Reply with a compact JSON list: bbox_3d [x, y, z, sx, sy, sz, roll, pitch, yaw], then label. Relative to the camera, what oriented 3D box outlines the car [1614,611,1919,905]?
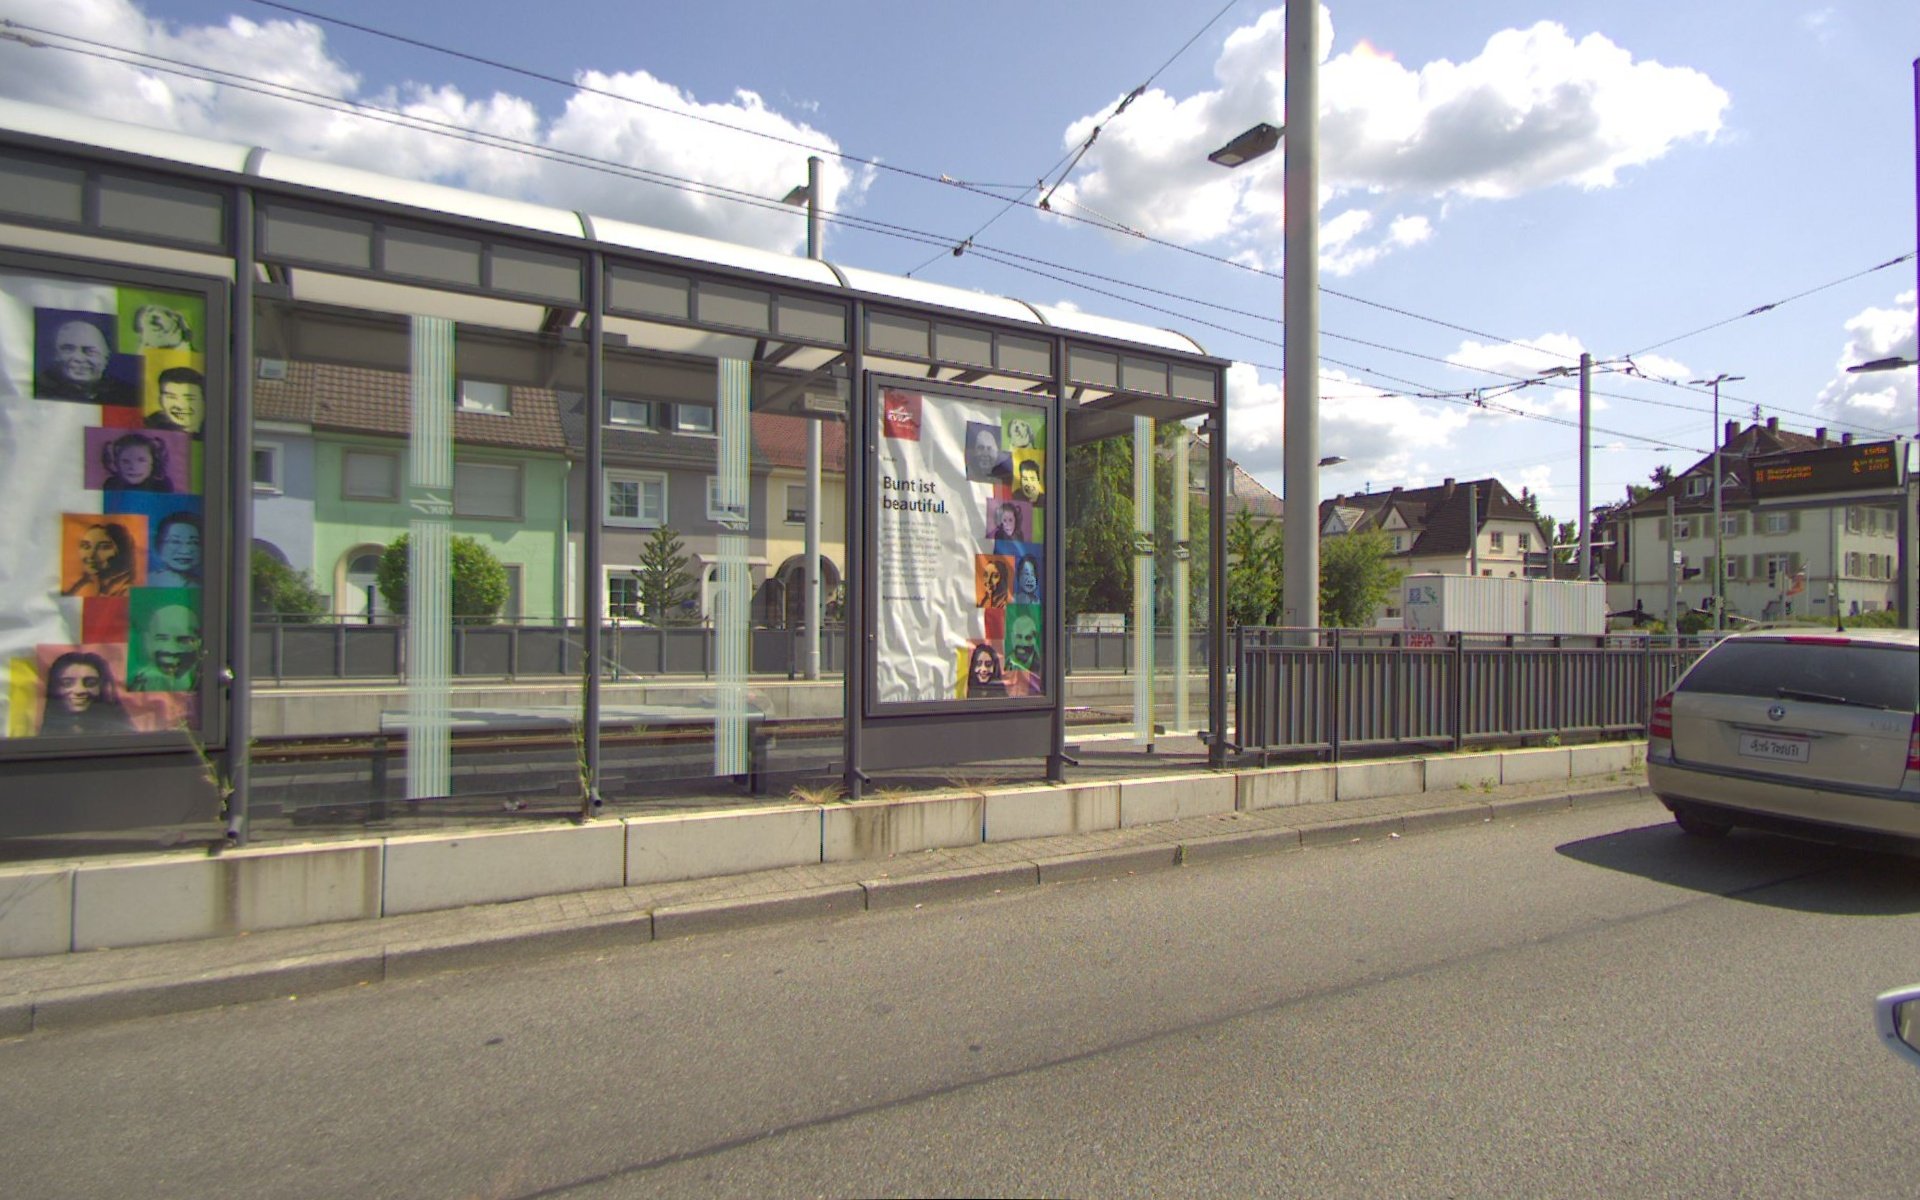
[{"bbox_3d":[6.380,0.881,6.704,4.075,1.468,1.723,2,0,-30],"label":"car"}]

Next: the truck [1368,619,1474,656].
[{"bbox_3d":[27.840,2.210,60.901,1.667,1.947,6.164,2,0,-26],"label":"truck"}]
